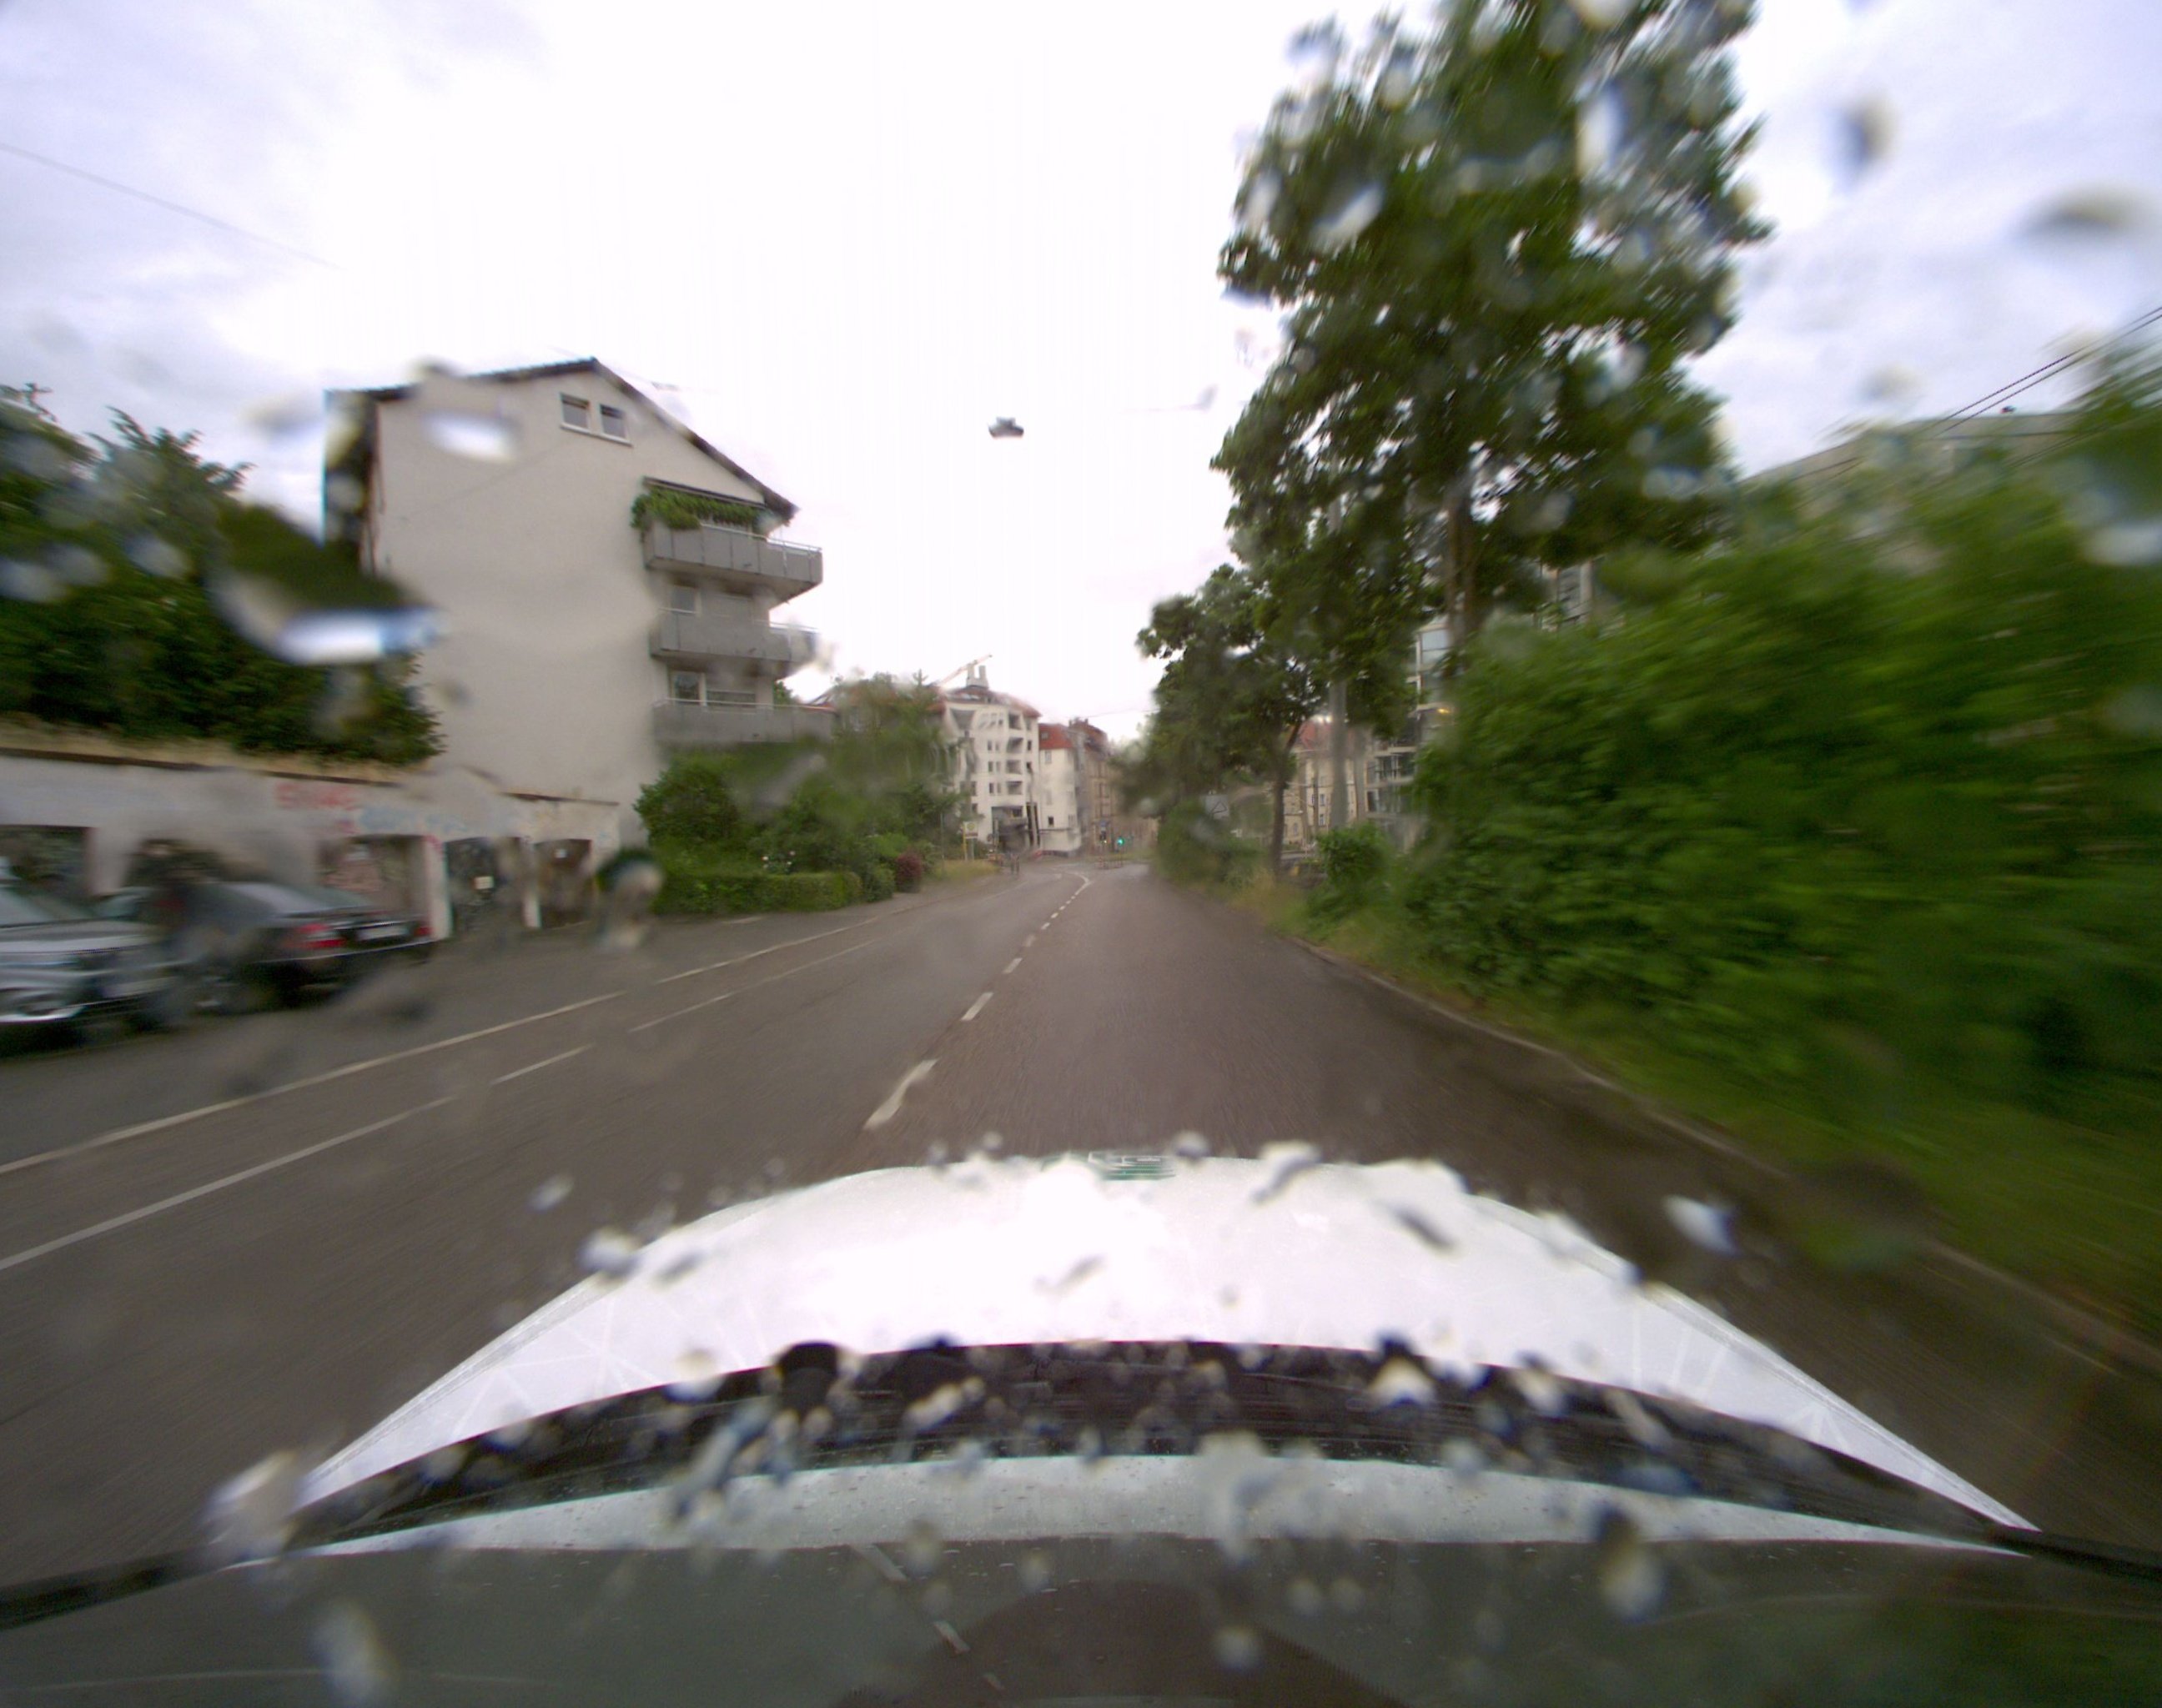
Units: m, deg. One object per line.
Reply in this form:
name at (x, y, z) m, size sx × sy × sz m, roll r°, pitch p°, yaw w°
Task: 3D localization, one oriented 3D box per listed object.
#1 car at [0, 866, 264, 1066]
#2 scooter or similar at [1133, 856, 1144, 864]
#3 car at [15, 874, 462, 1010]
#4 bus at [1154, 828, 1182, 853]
car at (-10.334, 0.932, 7.336) m, size 3.975 × 1.559 × 1.879 m, roll -1°, pitch -1°, yaw -1°
scooter or similar at (5.846, 0.599, 82.802) m, size 0.480 × 0.761 × 1.338 m, roll -2°, pitch 0°, yaw 30°
car at (-9.981, 0.998, 9.856) m, size 3.616 × 1.407 × 1.785 m, roll -1°, pitch 0°, yaw 3°
bus at (10.449, -1.582, 97.532) m, size 1.975 × 2.871 × 4.024 m, roll -2°, pitch 0°, yaw 28°
